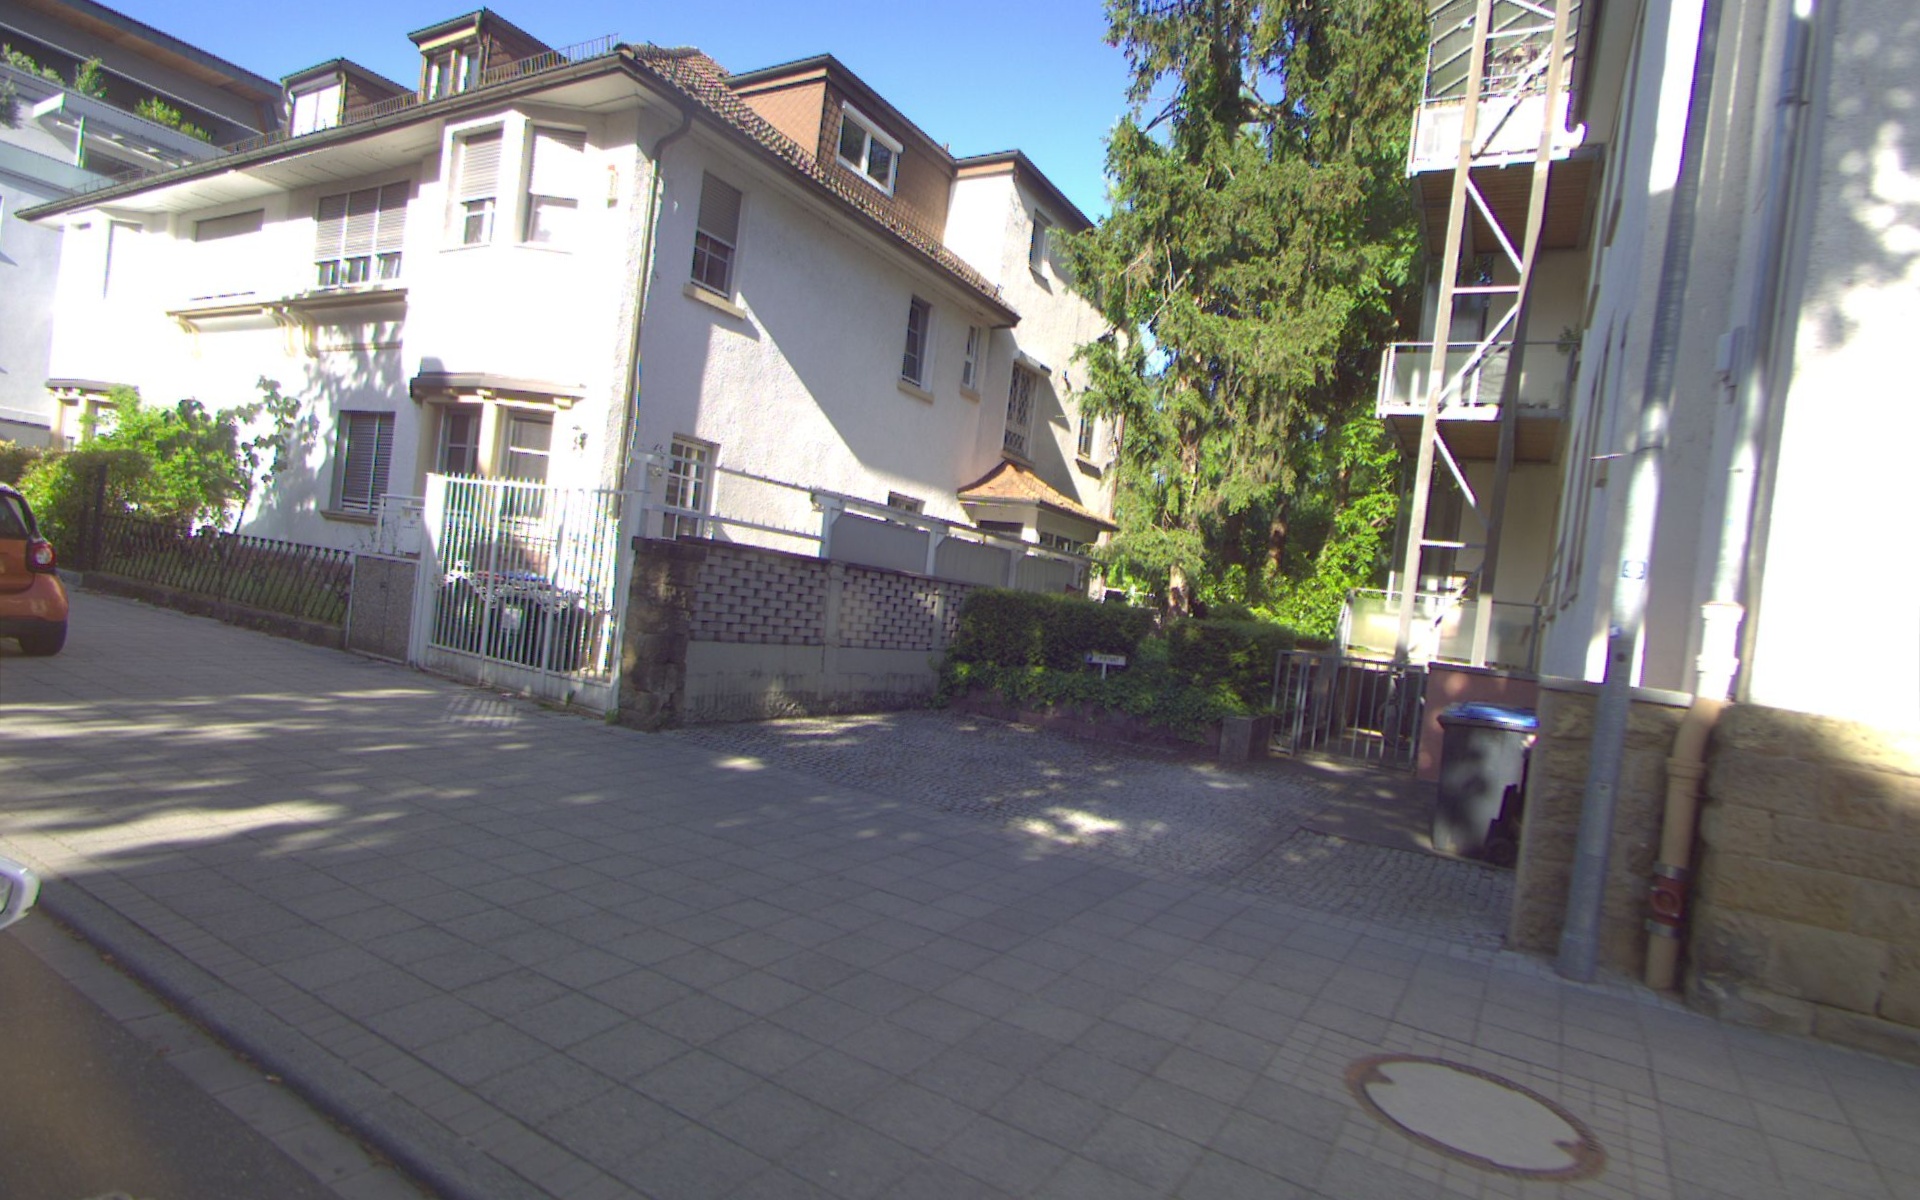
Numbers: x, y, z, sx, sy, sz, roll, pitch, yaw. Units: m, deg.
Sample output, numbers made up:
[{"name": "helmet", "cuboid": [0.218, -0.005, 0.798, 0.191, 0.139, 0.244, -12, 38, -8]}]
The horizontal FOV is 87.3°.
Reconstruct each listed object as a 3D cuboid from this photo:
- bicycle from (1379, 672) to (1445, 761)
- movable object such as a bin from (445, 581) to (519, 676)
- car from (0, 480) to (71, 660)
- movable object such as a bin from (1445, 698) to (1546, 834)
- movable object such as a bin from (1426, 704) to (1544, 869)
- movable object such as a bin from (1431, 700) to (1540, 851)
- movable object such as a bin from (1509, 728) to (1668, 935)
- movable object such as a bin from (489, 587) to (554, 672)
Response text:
[{"name": "bicycle", "cuboid": [6.036, 1.520, 13.494, 0.357, 1.014, 1.916, 6, 0, 13]}, {"name": "movable object such as a bin", "cuboid": [-5.323, 0.323, 11.200, 0.483, 0.981, 0.451, 6, -2, 31]}, {"name": "car", "cuboid": [-9.536, -0.420, 8.904, 3.193, 1.500, 1.593, 7, 2, 31]}, {"name": "movable object such as a bin", "cuboid": [4.515, 1.381, 8.504, 0.644, 1.014, 0.519, 6, -2, 28]}, {"name": "movable object such as a bin", "cuboid": [3.853, 1.340, 7.403, 0.644, 1.062, 0.557, 6, -2, 28]}, {"name": "movable object such as a bin", "cuboid": [4.148, 1.361, 7.962, 0.644, 1.056, 0.554, 6, -2, 28]}, {"name": "movable object such as a bin", "cuboid": [3.807, 1.371, 6.144, 0.685, 1.074, 0.557, 6, -2, 28]}, {"name": "movable object such as a bin", "cuboid": [-5.069, 0.345, 11.637, 0.440, 0.914, 0.423, 6, -2, 31]}]
